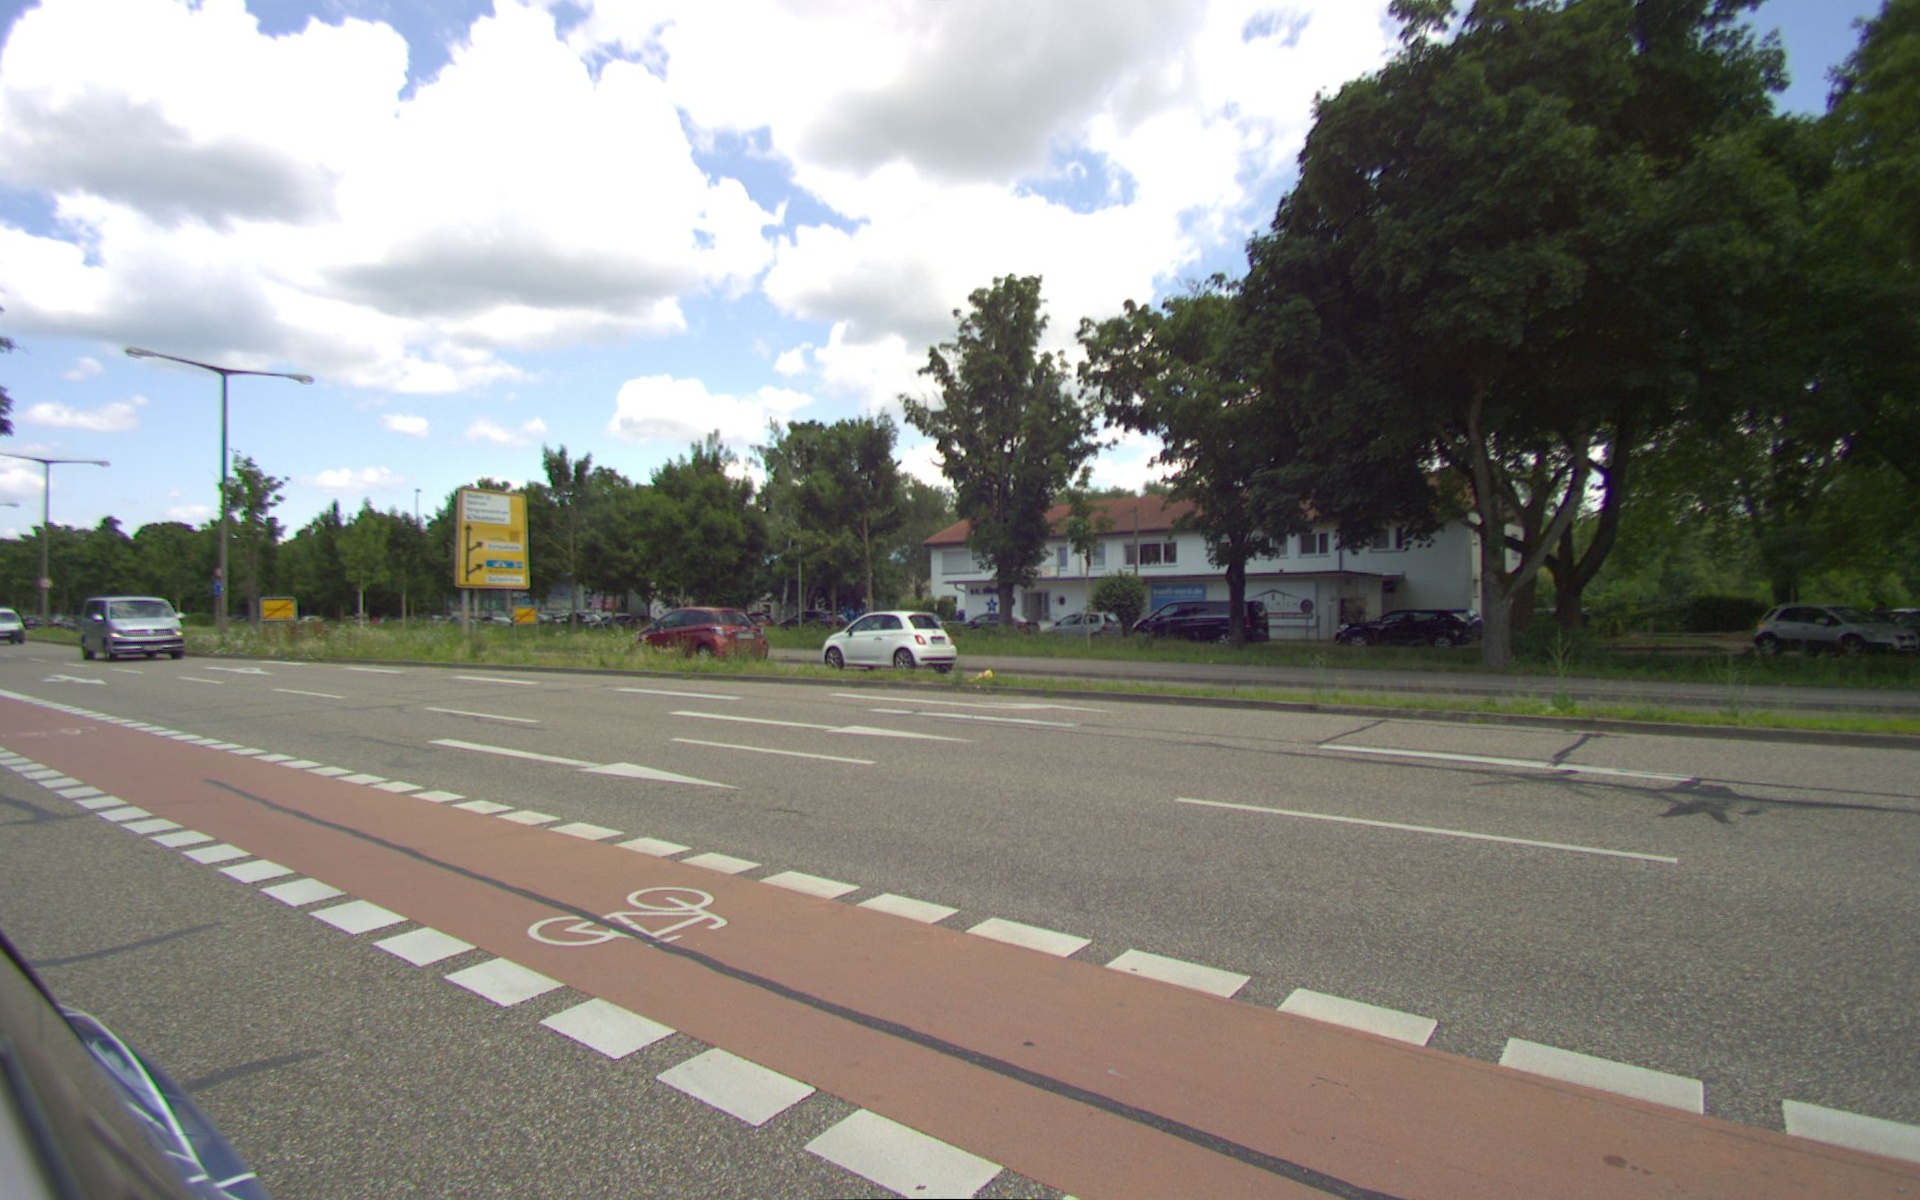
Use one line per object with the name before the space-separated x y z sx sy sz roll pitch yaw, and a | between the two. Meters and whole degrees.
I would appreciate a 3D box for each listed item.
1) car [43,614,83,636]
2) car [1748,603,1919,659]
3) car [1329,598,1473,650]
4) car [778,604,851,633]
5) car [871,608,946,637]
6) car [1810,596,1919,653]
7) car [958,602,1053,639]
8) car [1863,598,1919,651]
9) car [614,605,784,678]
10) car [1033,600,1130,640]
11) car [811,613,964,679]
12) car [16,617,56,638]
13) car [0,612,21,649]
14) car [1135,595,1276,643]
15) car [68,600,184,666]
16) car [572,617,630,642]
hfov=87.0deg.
car | -72.885 2.000 82.219 3.998 1.759 1.892 -1 -2 41
car | 25.274 0.864 28.862 1.966 1.495 4.033 0 -1 -14
car | 15.059 0.807 34.636 4.347 1.670 1.794 -1 0 30
car | -7.640 0.980 52.891 3.864 1.422 1.707 -1 -2 41
car | -2.498 1.058 48.596 3.475 1.342 1.604 -1 -2 41
car | 27.762 0.714 29.580 1.966 1.600 4.033 0 -1 -14
car | 1.995 0.914 45.086 4.021 1.600 1.740 -1 -2 41
car | 30.045 0.733 30.293 1.966 1.600 4.033 0 -3 -14
car | -6.398 0.969 24.672 3.993 1.630 1.975 -1 -2 37
car | 5.079 0.846 42.533 3.664 1.600 1.896 -1 -2 41
car | -1.794 1.071 24.616 3.588 1.456 1.596 -1 0 38
car | -67.976 2.008 74.443 3.689 1.457 1.665 -1 -2 39
car | -48.033 1.519 50.248 4.155 1.799 1.724 -1 0 42
car | 9.294 0.722 38.612 4.927 1.724 1.863 -1 -2 41
car | -26.284 1.004 31.835 5.226 1.933 1.795 -1 -2 39
car | -24.172 1.975 68.087 4.021 1.600 1.973 -1 -2 41
